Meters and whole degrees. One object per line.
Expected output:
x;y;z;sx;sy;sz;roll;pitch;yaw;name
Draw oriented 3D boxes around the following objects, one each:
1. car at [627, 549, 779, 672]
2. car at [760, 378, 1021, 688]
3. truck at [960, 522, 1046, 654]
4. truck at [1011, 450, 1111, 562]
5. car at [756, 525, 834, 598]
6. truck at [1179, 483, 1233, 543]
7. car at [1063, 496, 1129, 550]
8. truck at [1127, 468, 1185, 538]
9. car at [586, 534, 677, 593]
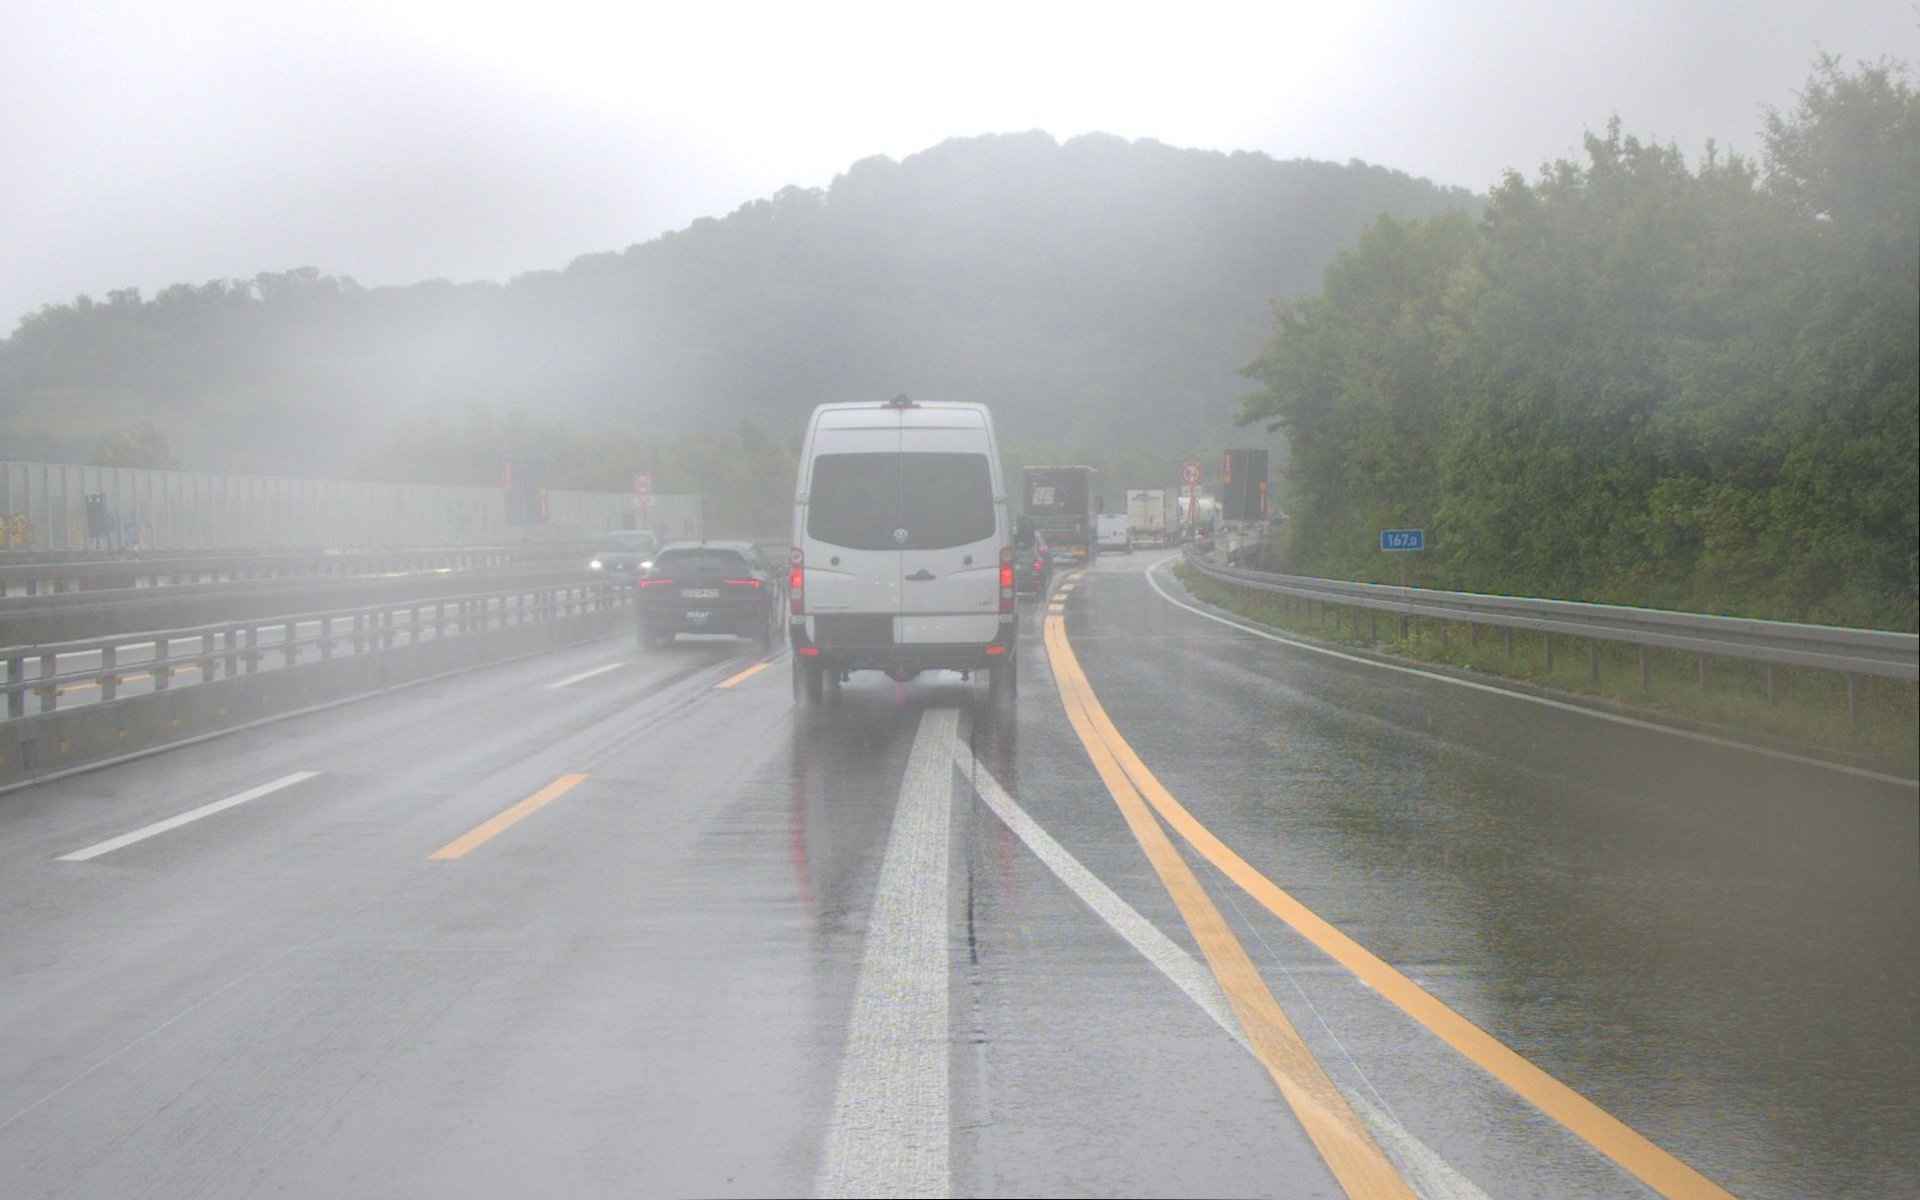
-3.462;0.106;46.593;1.946;1.556;4.001;1;1;-4;car
-0.547;-0.600;31.392;2.145;2.562;5.390;1;1;1;car
1.114;-0.356;85.653;1.993;3.098;8.498;1;1;1;truck
4.224;-3.816;141.012;3.582;4.391;9.623;1;1;4;truck
-3.810;-0.900;80.008;1.707;1.622;4.000;1;1;-2;car
18.600;-6.536;259.794;2.900;4.391;9.620;1;1;11;truck
7.499;-4.199;189.143;2.899;2.877;6.409;1;1;9;car
12.938;-6.345;226.079;3.037;4.391;9.621;1;1;8;truck
-8.560;-0.965;89.835;1.847;1.497;4.130;1;1;2;car
